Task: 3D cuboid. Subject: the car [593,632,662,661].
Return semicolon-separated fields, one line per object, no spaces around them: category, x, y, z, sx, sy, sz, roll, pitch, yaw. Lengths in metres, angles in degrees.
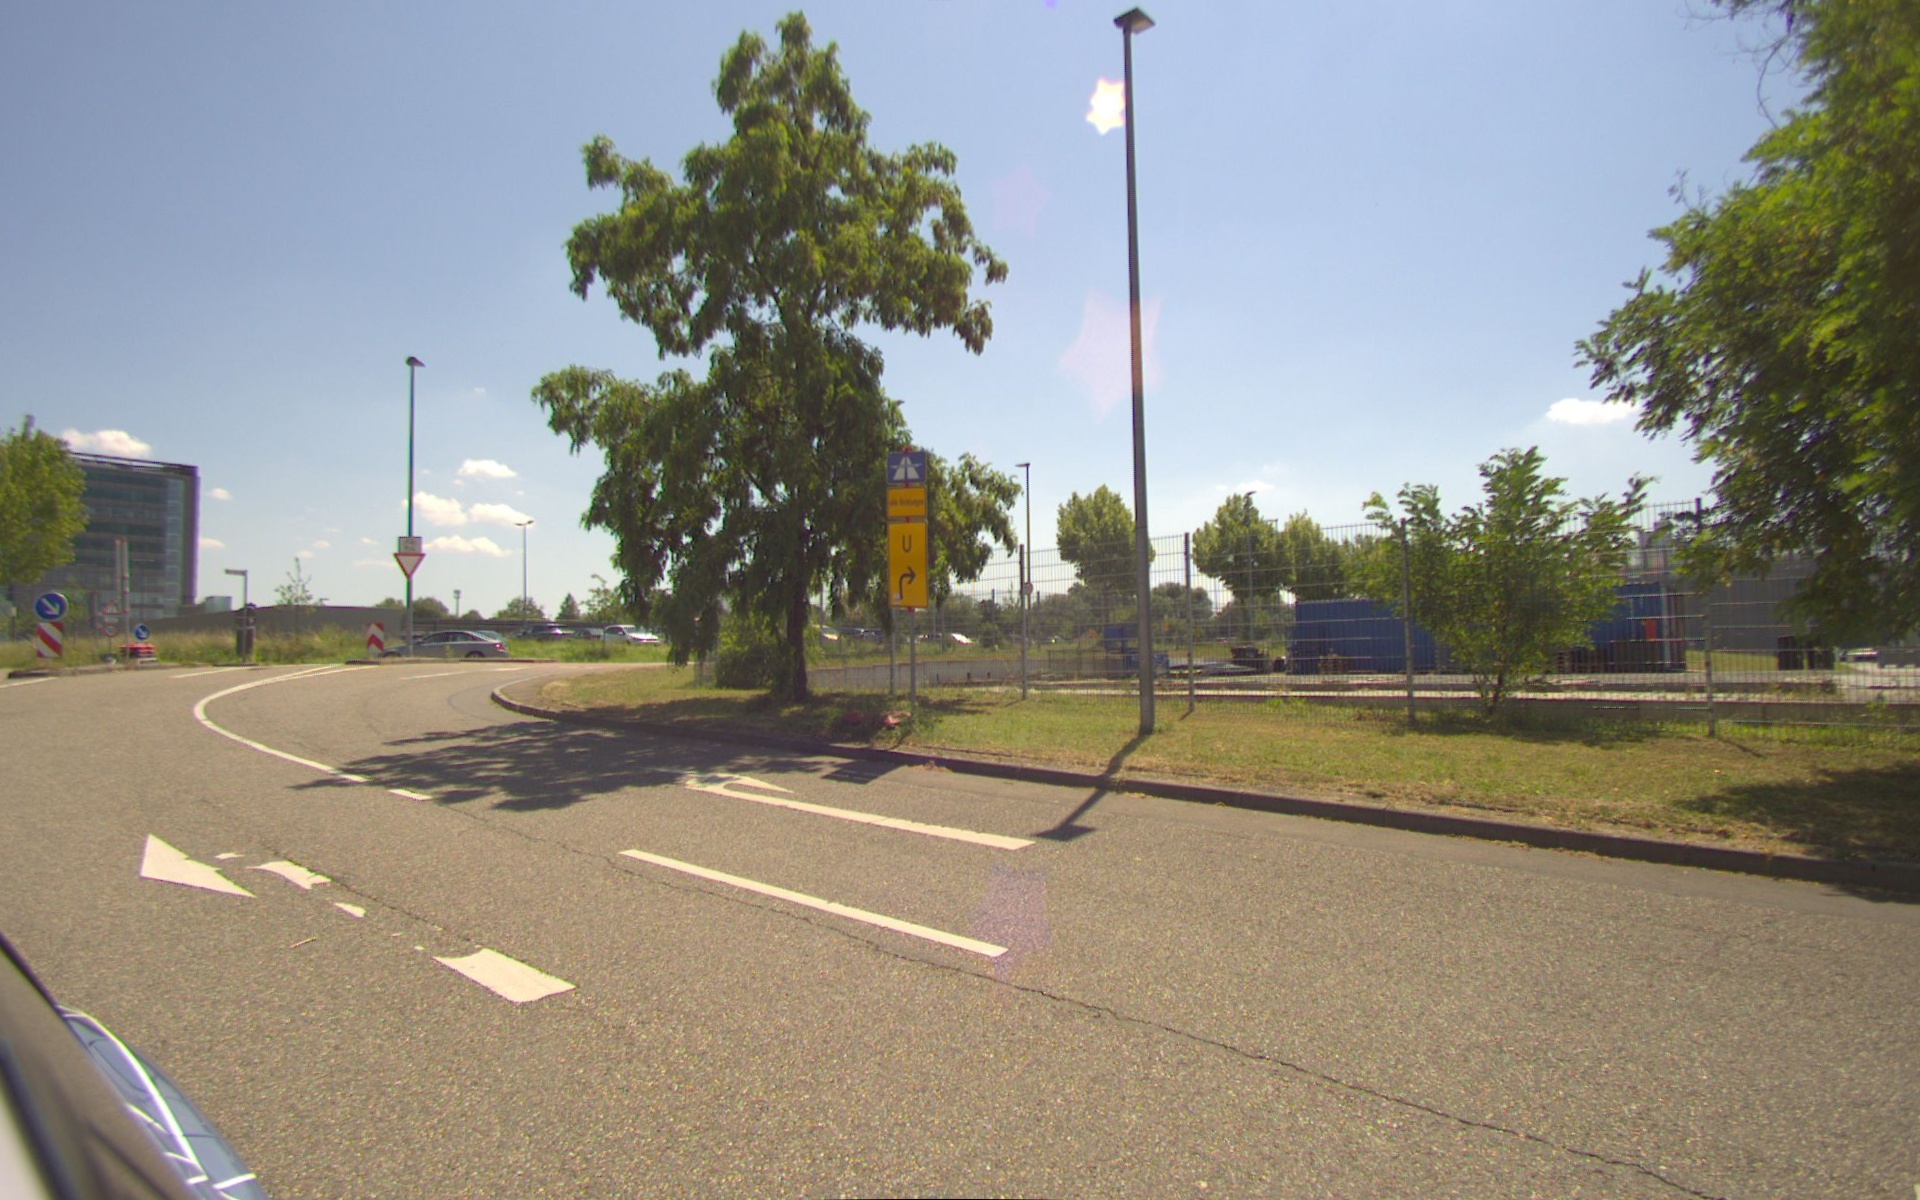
car;-17.003;2.402;51.702;3.875;1.307;1.553;-5;-3;41

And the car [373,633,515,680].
car;-18.958;2.076;37.368;4.420;1.385;1.679;-2;-5;-17

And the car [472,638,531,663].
car;-28.511;3.166;62.935;3.628;1.457;1.634;-3;-4;33

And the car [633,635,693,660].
car;-15.780;2.510;53.793;3.268;1.191;1.481;-5;-3;40

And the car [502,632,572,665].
car;-24.897;2.873;59.507;4.598;1.703;1.754;-5;-6;38

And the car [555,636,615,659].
car;-22.739;2.902;61.311;3.844;1.373;1.631;-3;-3;38
